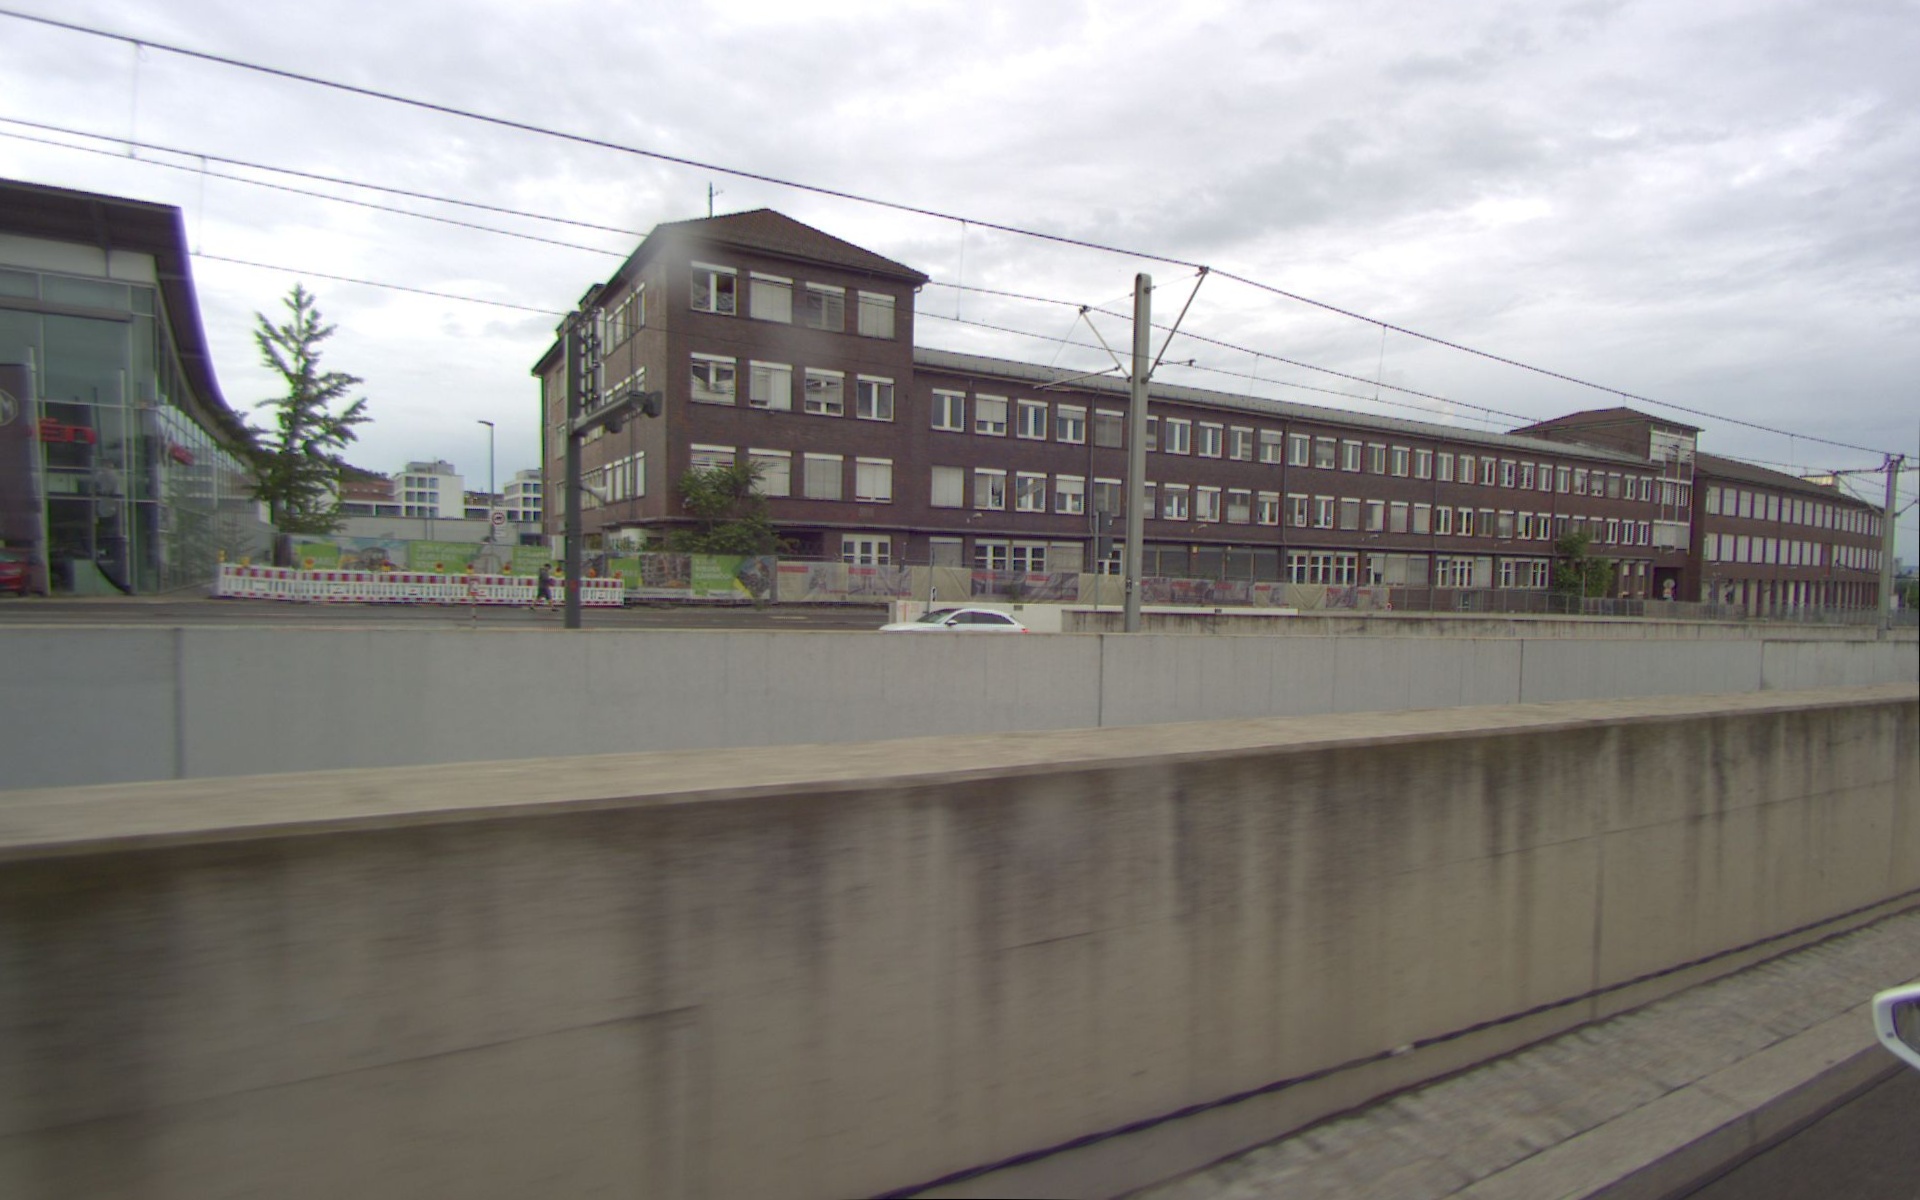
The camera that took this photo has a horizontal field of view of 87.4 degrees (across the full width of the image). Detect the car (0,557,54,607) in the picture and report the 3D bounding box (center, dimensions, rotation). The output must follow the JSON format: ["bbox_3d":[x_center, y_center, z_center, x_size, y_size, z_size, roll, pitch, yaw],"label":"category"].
[{"bbox_3d":[-27.826,-0.514,29.246,1.601,1.400,3.460,1,0,-33],"label":"car"}]

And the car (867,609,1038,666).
[{"bbox_3d":[-0.165,1.083,30.157,4.897,1.536,1.898,1,1,-34],"label":"car"}]

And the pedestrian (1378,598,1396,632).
[{"bbox_3d":[25.930,0.918,60.993,0.645,2.040,0.667,1,1,-32],"label":"pedestrian"}]

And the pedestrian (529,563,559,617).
[{"bbox_3d":[-13.894,-0.327,33.534,0.830,1.774,0.612,0,1,-30],"label":"pedestrian"}]
